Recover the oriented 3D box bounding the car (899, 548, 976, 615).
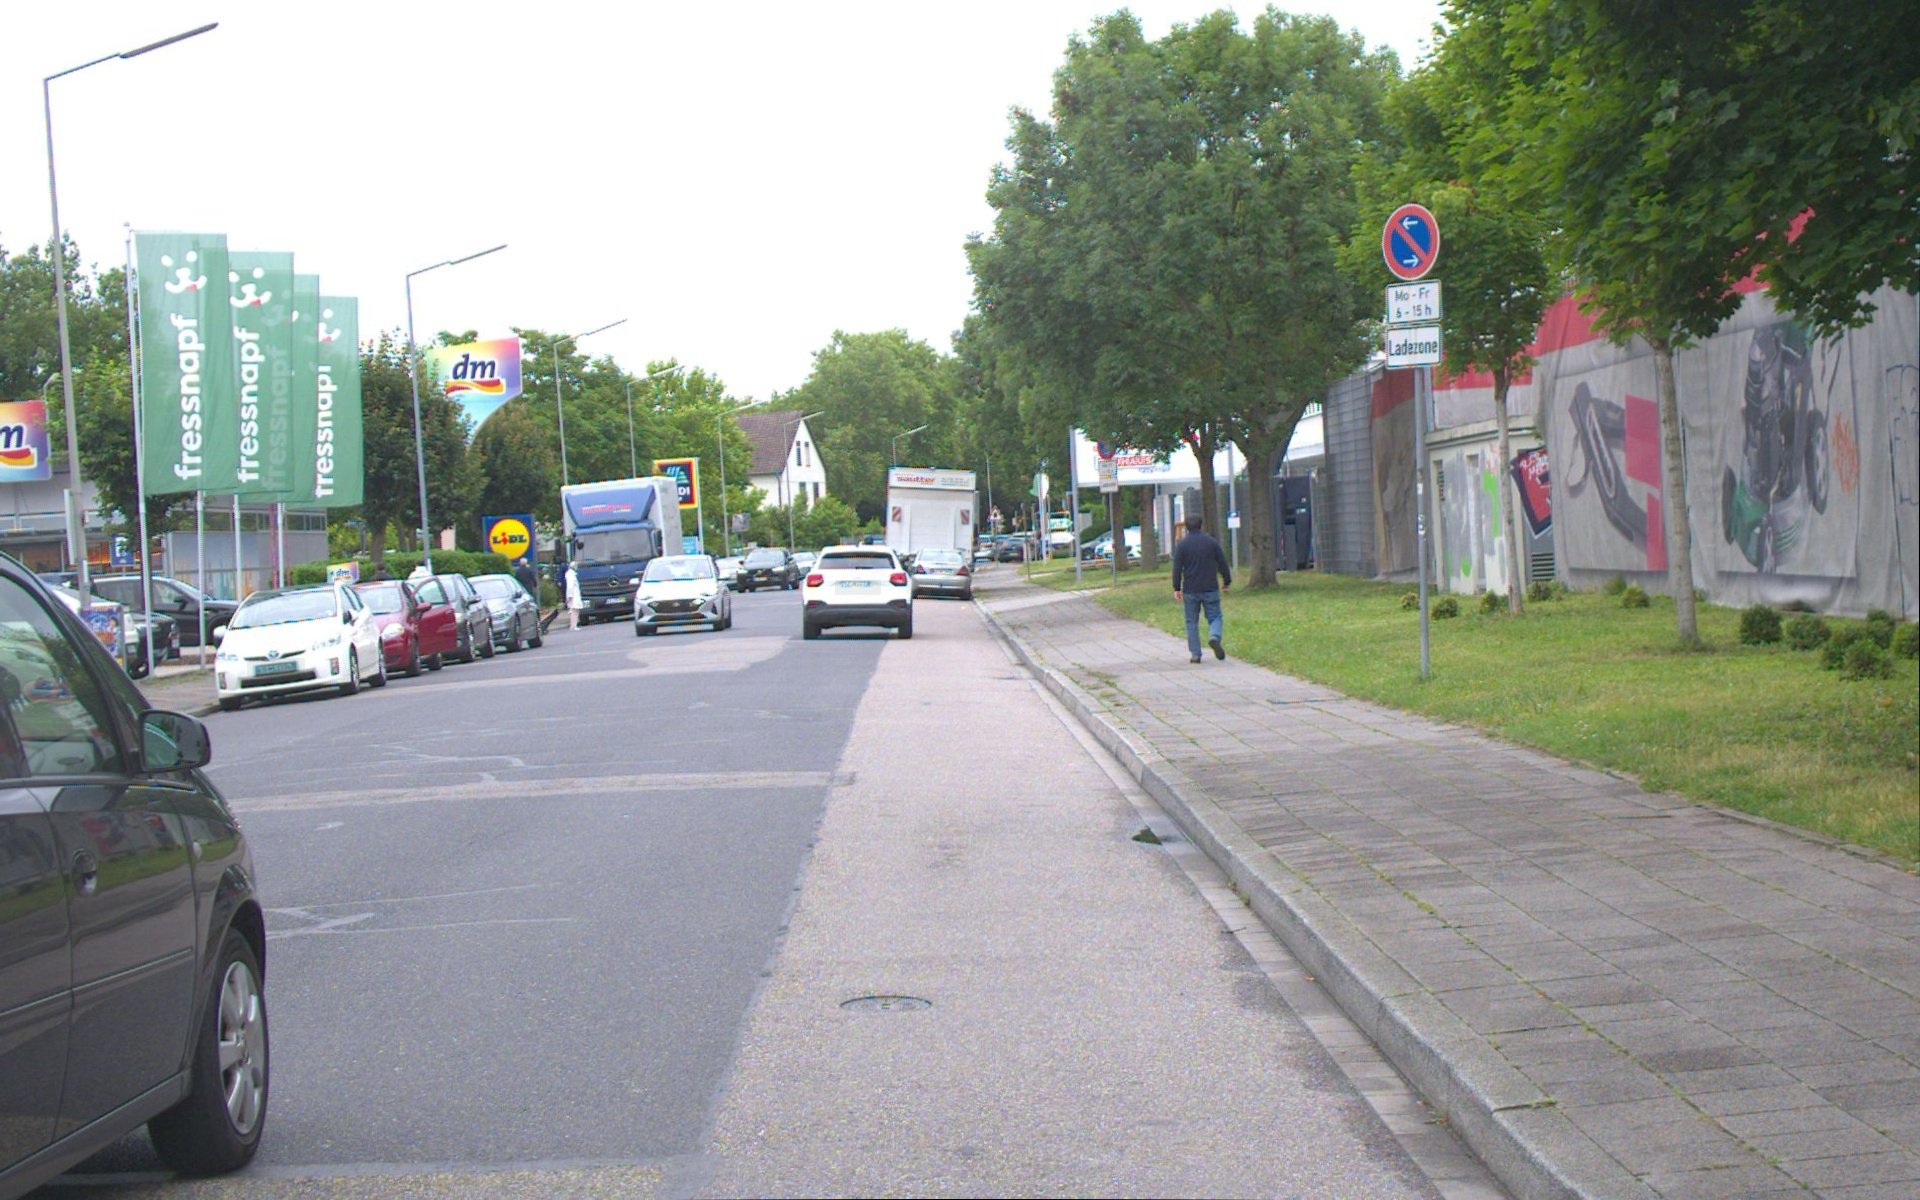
[{"bbox_3d":[-0.646,-0.521,96.096,1.993,1.800,4.000,-2,0,-2],"label":"car"}]

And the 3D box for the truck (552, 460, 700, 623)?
[{"bbox_3d":[-8.744,-1.554,90.740,2.973,3.942,6.405,-4,1,0],"label":"truck"}]

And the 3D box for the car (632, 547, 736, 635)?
[{"bbox_3d":[-5.282,-0.181,66.220,1.599,1.523,3.528,-5,1,0],"label":"car"}]

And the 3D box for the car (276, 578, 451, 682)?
[{"bbox_3d":[-8.932,0.422,51.779,1.898,1.362,4.000,-3,1,0],"label":"car"}]

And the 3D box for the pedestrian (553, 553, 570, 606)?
[{"bbox_3d":[-11.749,-0.601,101.395,0.401,1.526,0.485,-3,1,-6],"label":"pedestrian"}]

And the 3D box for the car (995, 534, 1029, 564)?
[{"bbox_3d":[3.029,-2.985,200.128,1.886,1.677,4.254,-1,1,0],"label":"car"}]

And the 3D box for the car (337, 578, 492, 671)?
[{"bbox_3d":[-9.038,0.381,57.293,1.898,1.362,4.000,-3,1,0],"label":"car"}]

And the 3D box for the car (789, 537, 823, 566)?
[{"bbox_3d":[-7.783,-2.449,173.834,1.541,1.361,3.428,-2,0,0],"label":"car"}]

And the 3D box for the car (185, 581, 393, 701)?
[{"bbox_3d":[-8.754,0.506,45.166,1.898,1.362,4.000,-3,1,0],"label":"car"}]

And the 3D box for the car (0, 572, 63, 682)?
[{"bbox_3d":[-14.697,0.455,47.456,4.202,1.458,1.953,-3,1,-8],"label":"car"}]

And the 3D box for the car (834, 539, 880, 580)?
[{"bbox_3d":[-4.454,-1.763,148.476,1.869,1.656,4.000,-2,1,-2],"label":"car"}]

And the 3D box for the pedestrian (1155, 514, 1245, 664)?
[{"bbox_3d":[2.657,-0.125,38.210,0.919,1.629,0.852,-2,0,2],"label":"pedestrian"}]

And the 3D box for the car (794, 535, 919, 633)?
[{"bbox_3d":[-1.671,-0.289,56.846,1.886,1.526,4.254,-1,1,0],"label":"car"}]

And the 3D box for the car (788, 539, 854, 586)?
[{"bbox_3d":[-4.487,-1.230,111.400,1.937,1.362,4.000,-4,1,-1],"label":"car"}]

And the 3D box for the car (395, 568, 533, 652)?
[{"bbox_3d":[-9.076,0.165,63.192,1.898,1.362,4.000,-3,1,0],"label":"car"}]

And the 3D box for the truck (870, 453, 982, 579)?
[{"bbox_3d":[-1.127,-2.476,105.177,3.135,3.572,10.051,-2,0,-2],"label":"truck"}]

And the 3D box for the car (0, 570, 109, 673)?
[{"bbox_3d":[-15.255,0.393,52.365,4.134,1.458,1.899,-3,1,-5],"label":"car"}]

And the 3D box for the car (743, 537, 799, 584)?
[{"bbox_3d":[-7.175,-1.490,130.748,1.993,1.678,4.000,-2,0,-2],"label":"car"}]

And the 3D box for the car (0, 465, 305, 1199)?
[{"bbox_3d":[-2.604,0.598,6.836,1.681,1.626,3.759,-3,1,2],"label":"car"}]

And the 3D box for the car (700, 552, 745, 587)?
[{"bbox_3d":[-9.633,-1.235,139.711,1.623,1.370,3.453,-2,0,-1],"label":"car"}]

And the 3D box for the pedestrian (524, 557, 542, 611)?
[{"bbox_3d":[-12.121,-0.460,97.595,0.401,1.526,0.485,-3,1,-6],"label":"pedestrian"}]
